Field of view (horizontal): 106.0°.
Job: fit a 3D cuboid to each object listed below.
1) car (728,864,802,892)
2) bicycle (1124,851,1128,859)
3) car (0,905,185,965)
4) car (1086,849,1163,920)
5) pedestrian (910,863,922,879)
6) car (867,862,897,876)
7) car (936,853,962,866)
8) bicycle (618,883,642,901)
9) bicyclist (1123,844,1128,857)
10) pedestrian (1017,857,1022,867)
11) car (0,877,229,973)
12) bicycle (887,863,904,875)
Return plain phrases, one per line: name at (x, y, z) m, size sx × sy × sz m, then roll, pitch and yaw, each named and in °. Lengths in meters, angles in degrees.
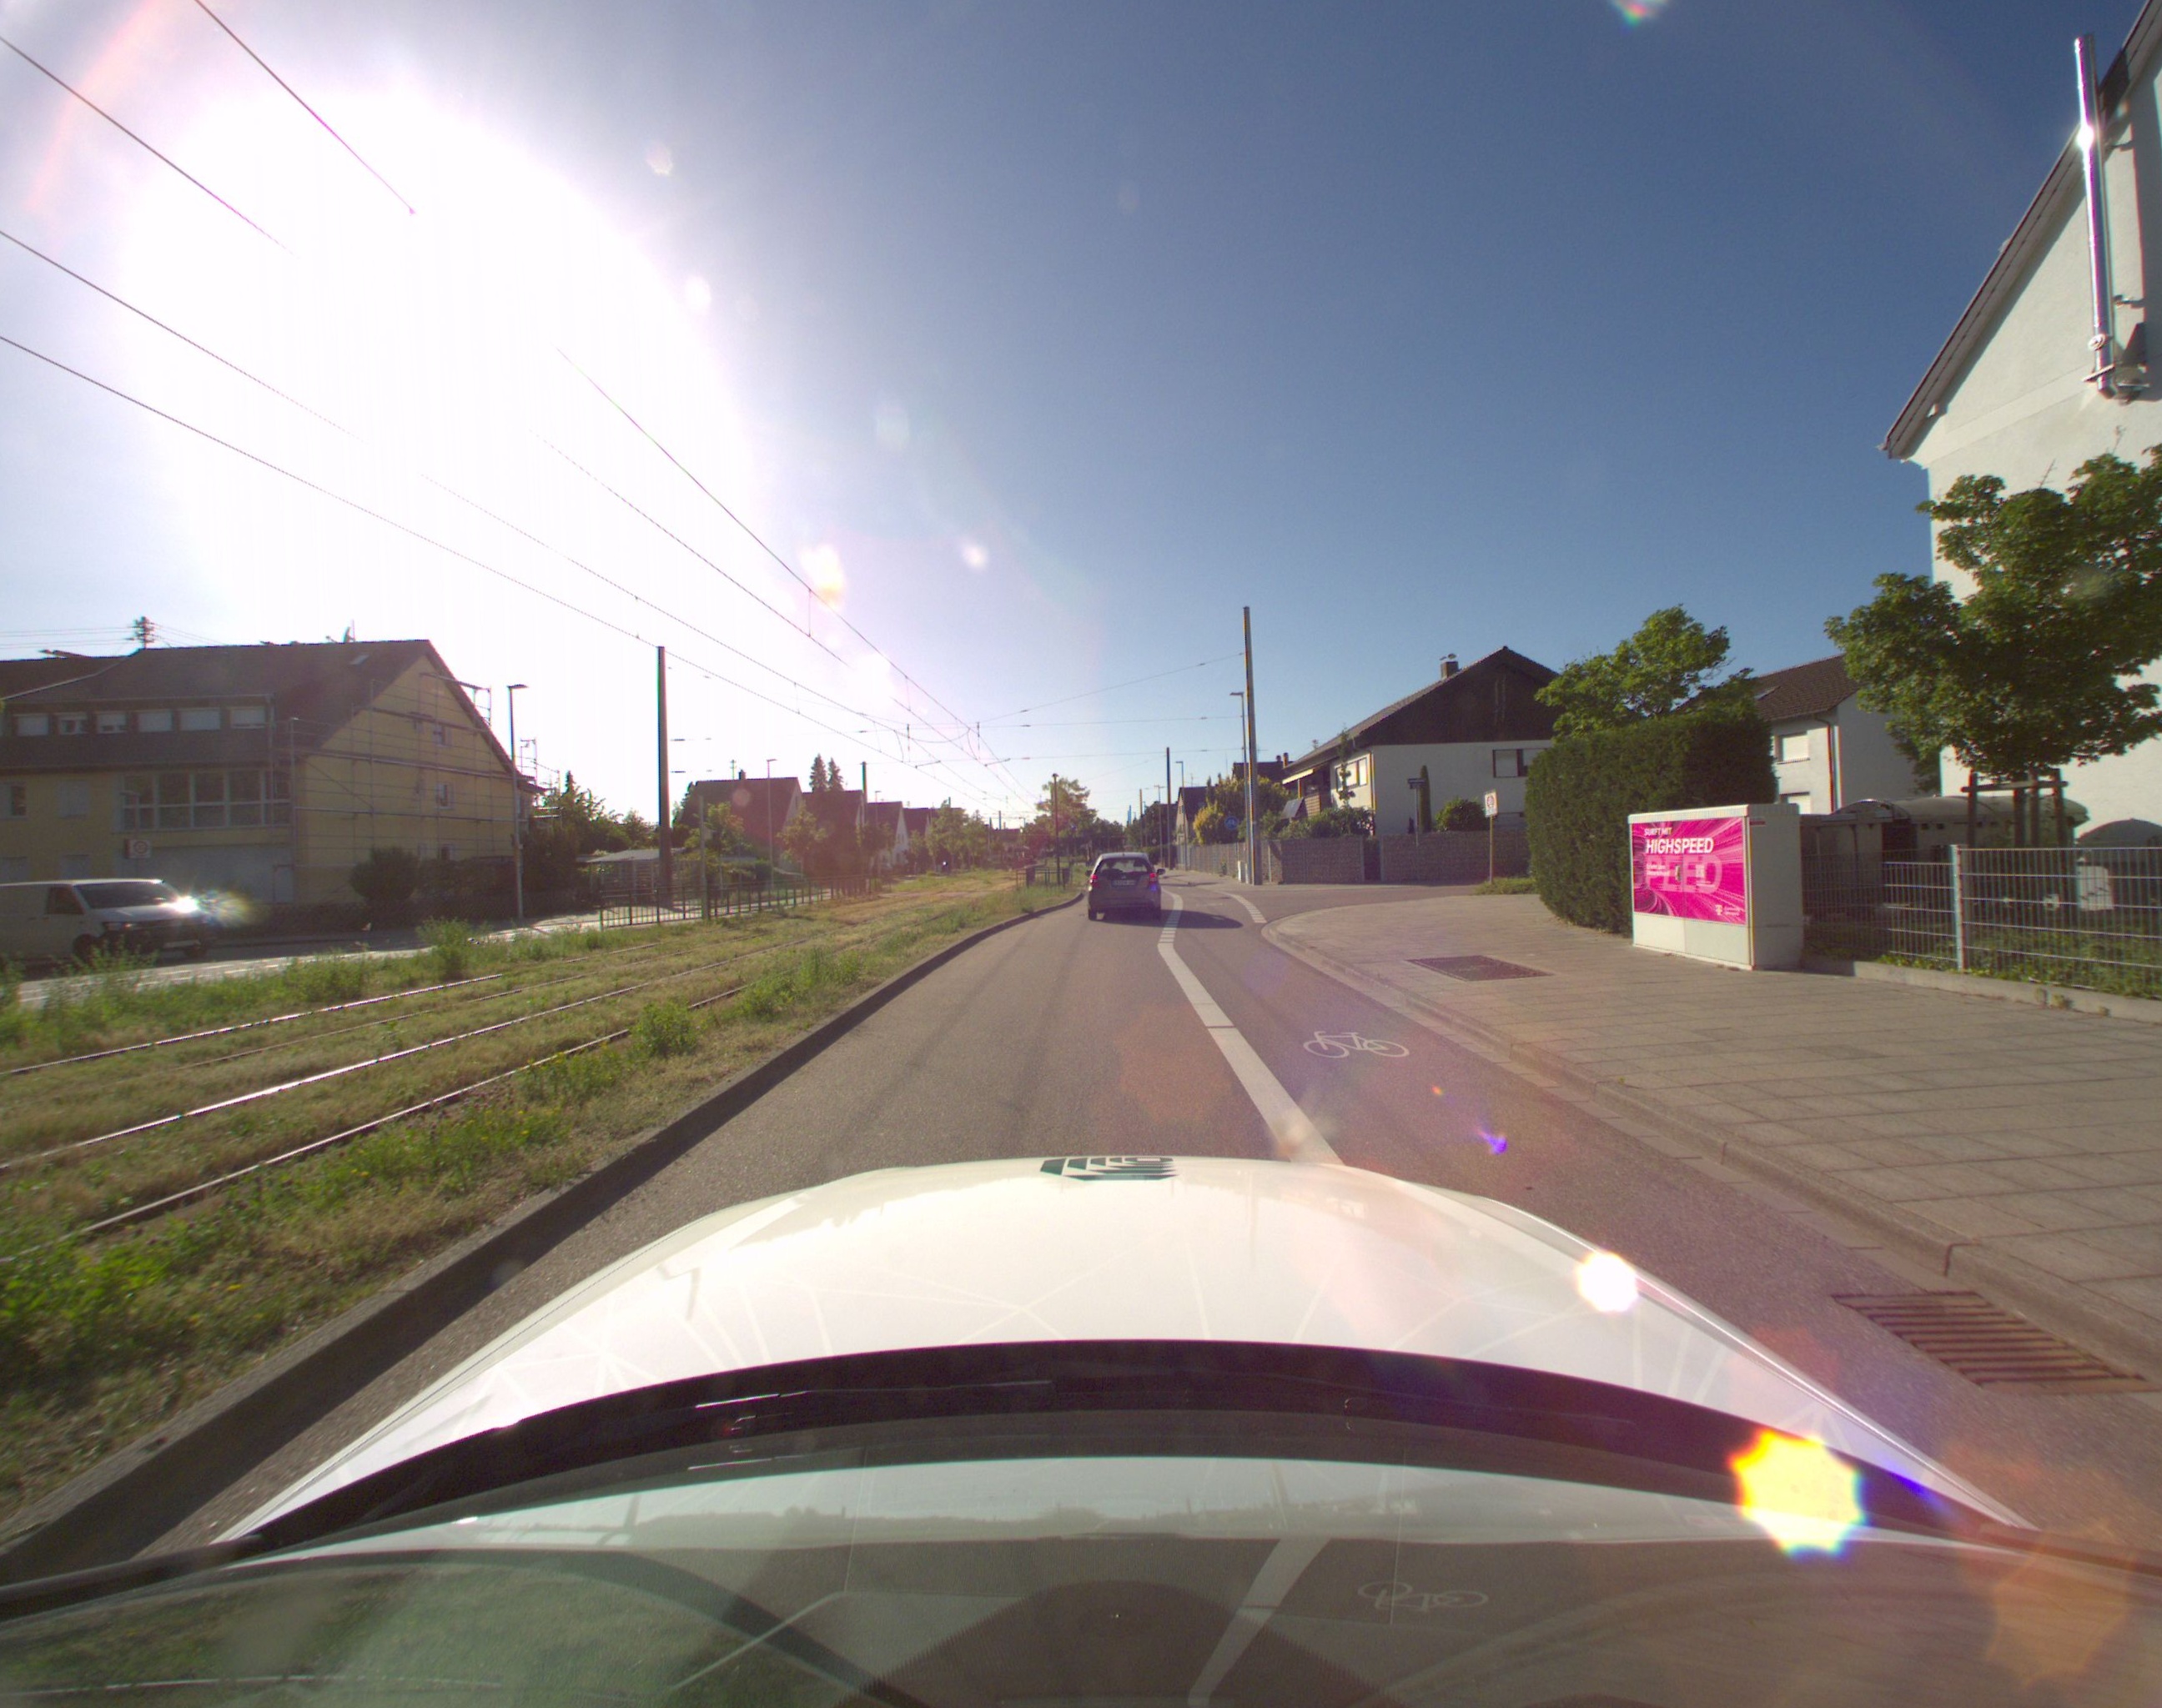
car at (-22.311, 1.664, 57.651) m, size 4.542 × 1.734 × 2.045 m, roll -3°, pitch 0°, yaw -11°
bicycle at (6.022, 0.147, 108.689) m, size 0.473 × 0.961 × 1.657 m, roll -1°, pitch -1°, yaw 1°
car at (-27.311, 2.185, 22.050) m, size 3.974 × 1.404 × 1.852 m, roll -3°, pitch -3°, yaw -1°
car at (1.070, 0.675, 19.602) m, size 1.663 × 1.535 × 3.491 m, roll -1°, pitch 0°, yaw 4°
pedestrian at (-17.656, 1.814, 87.078) m, size 0.961 × 1.640 × 1.086 m, roll -2°, pitch 0°, yaw 1°
car at (-22.398, 1.706, 91.906) m, size 1.927 × 1.450 × 5.163 m, roll -2°, pitch 0°, yaw 1°
car at (-20.754, 0.923, 128.294) m, size 3.983 × 1.970 × 1.928 m, roll -1°, pitch -1°, yaw -7°
bicycle at (-22.011, 1.825, 39.771) m, size 0.309 × 0.821 × 1.509 m, roll -1°, pitch -1°, yaw 1°
bicyclist at (5.970, -0.427, 108.532) m, size 0.596 × 1.701 × 0.683 m, roll -1°, pitch -1°, yaw 1°
pedestrian at (-8.822, 1.154, 117.343) m, size 0.673 × 1.535 × 0.748 m, roll -2°, pitch 0°, yaw -3°
car at (-22.376, 1.593, 18.515) m, size 4.655 × 1.914 × 1.910 m, roll -2°, pitch 0°, yaw 11°
bicycle at (-23.629, 1.924, 103.609) m, size 1.986 × 1.365 × 0.703 m, roll -2°, pitch 0°, yaw -6°
